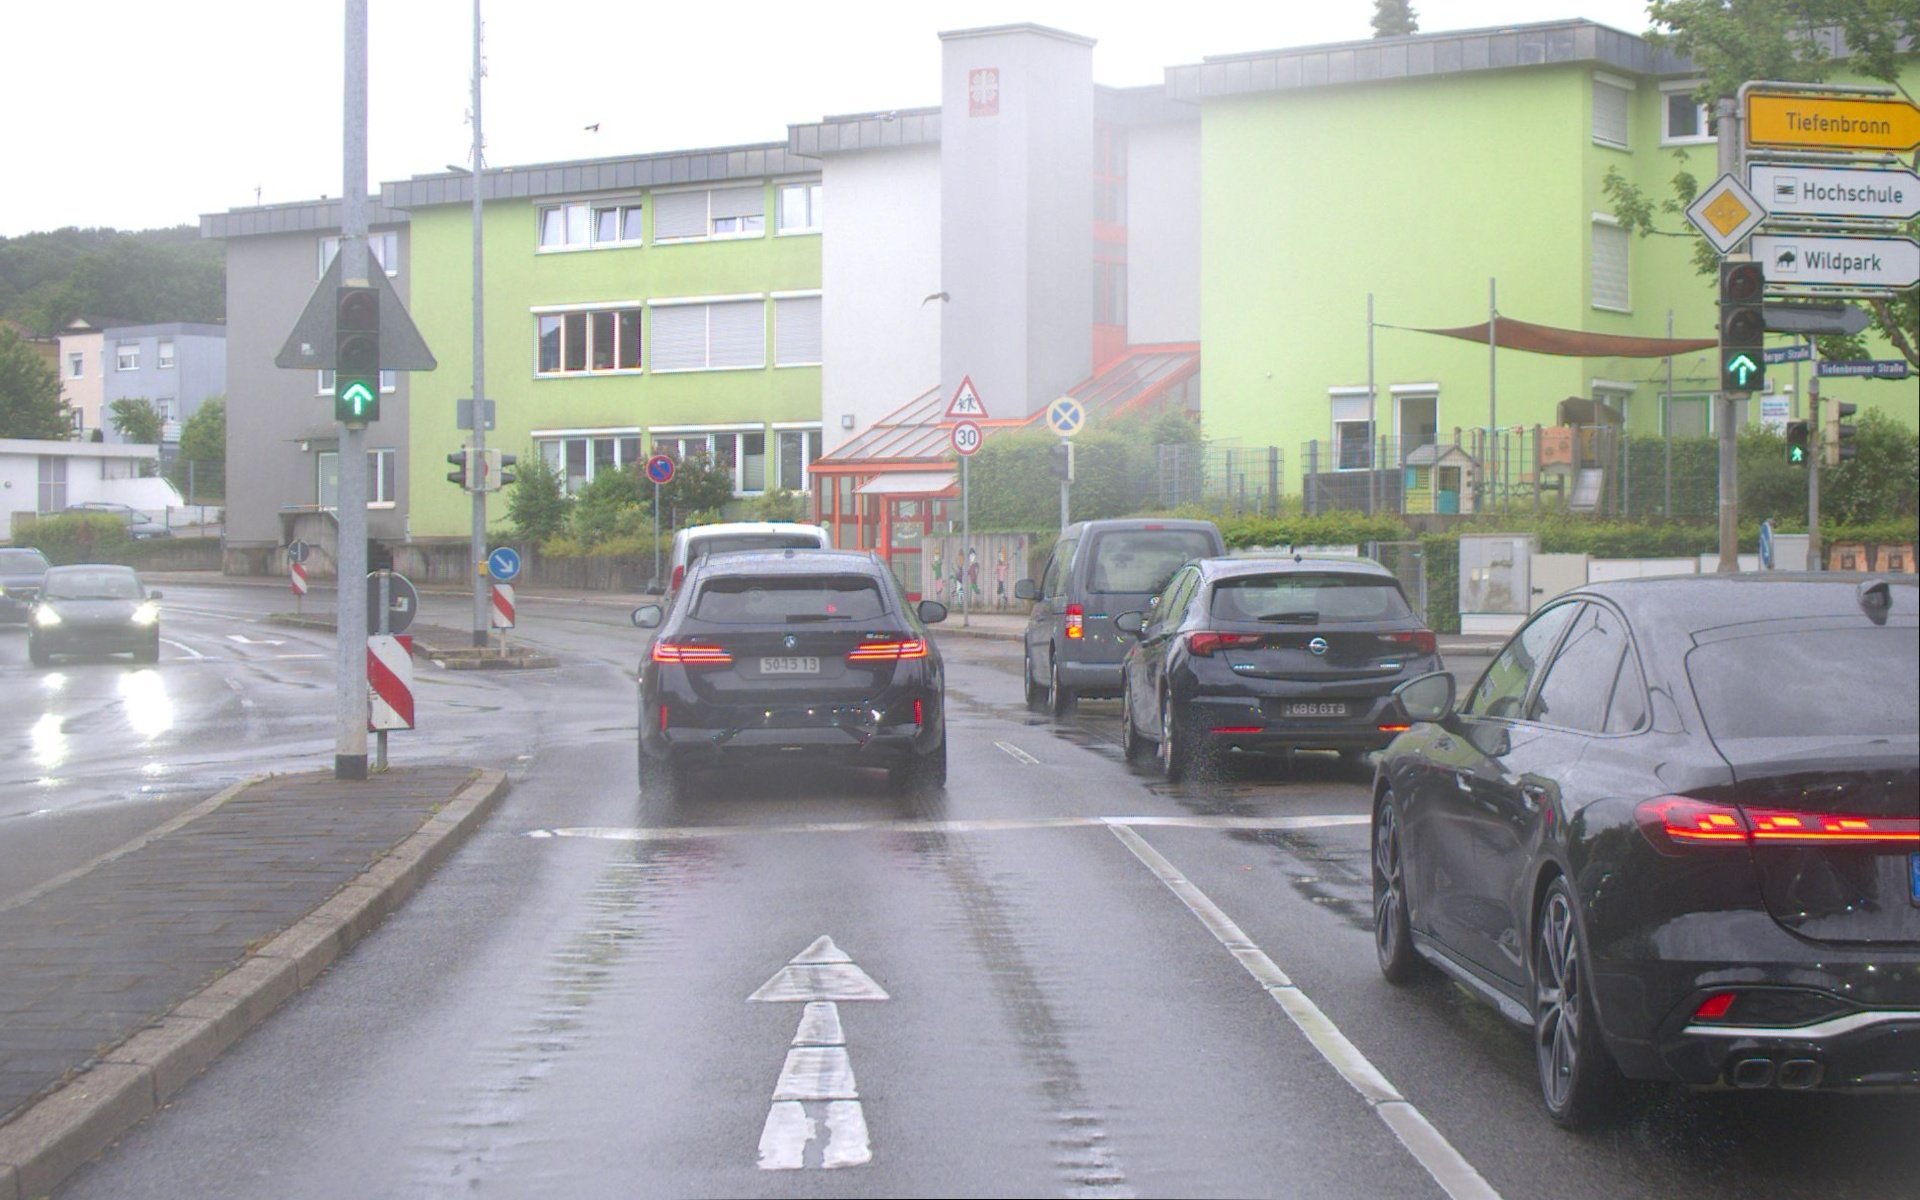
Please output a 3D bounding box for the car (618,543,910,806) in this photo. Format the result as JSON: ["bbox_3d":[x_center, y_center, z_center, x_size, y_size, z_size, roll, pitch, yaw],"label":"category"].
[{"bbox_3d":[-1.307,0.403,22.026,1.682,1.501,3.774,-1,1,-5],"label":"car"}]

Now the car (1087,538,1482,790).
[{"bbox_3d":[2.045,0.348,22.868,1.849,1.481,4.087,-1,1,-6],"label":"car"}]

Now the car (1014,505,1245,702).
[{"bbox_3d":[1.541,-0.024,32.584,1.783,1.728,4.087,-1,2,-3],"label":"car"}]

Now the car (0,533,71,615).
[{"bbox_3d":[-18.779,-0.531,68.209,1.849,1.559,4.001,-1,1,-19],"label":"car"}]

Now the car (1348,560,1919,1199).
[{"bbox_3d":[2.296,0.620,10.058,1.706,1.422,4.509,0,1,-1],"label":"car"}]

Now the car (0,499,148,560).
[{"bbox_3d":[-28.038,-2.224,108.639,4.393,1.766,2.001,-2,1,-18],"label":"car"}]

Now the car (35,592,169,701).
[{"bbox_3d":[-12.983,0.665,52.172,1.792,1.484,4.155,-2,1,-12],"label":"car"}]

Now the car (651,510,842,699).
[{"bbox_3d":[-2.318,-0.003,36.456,1.716,1.838,4.088,2,1,-7],"label":"car"}]
